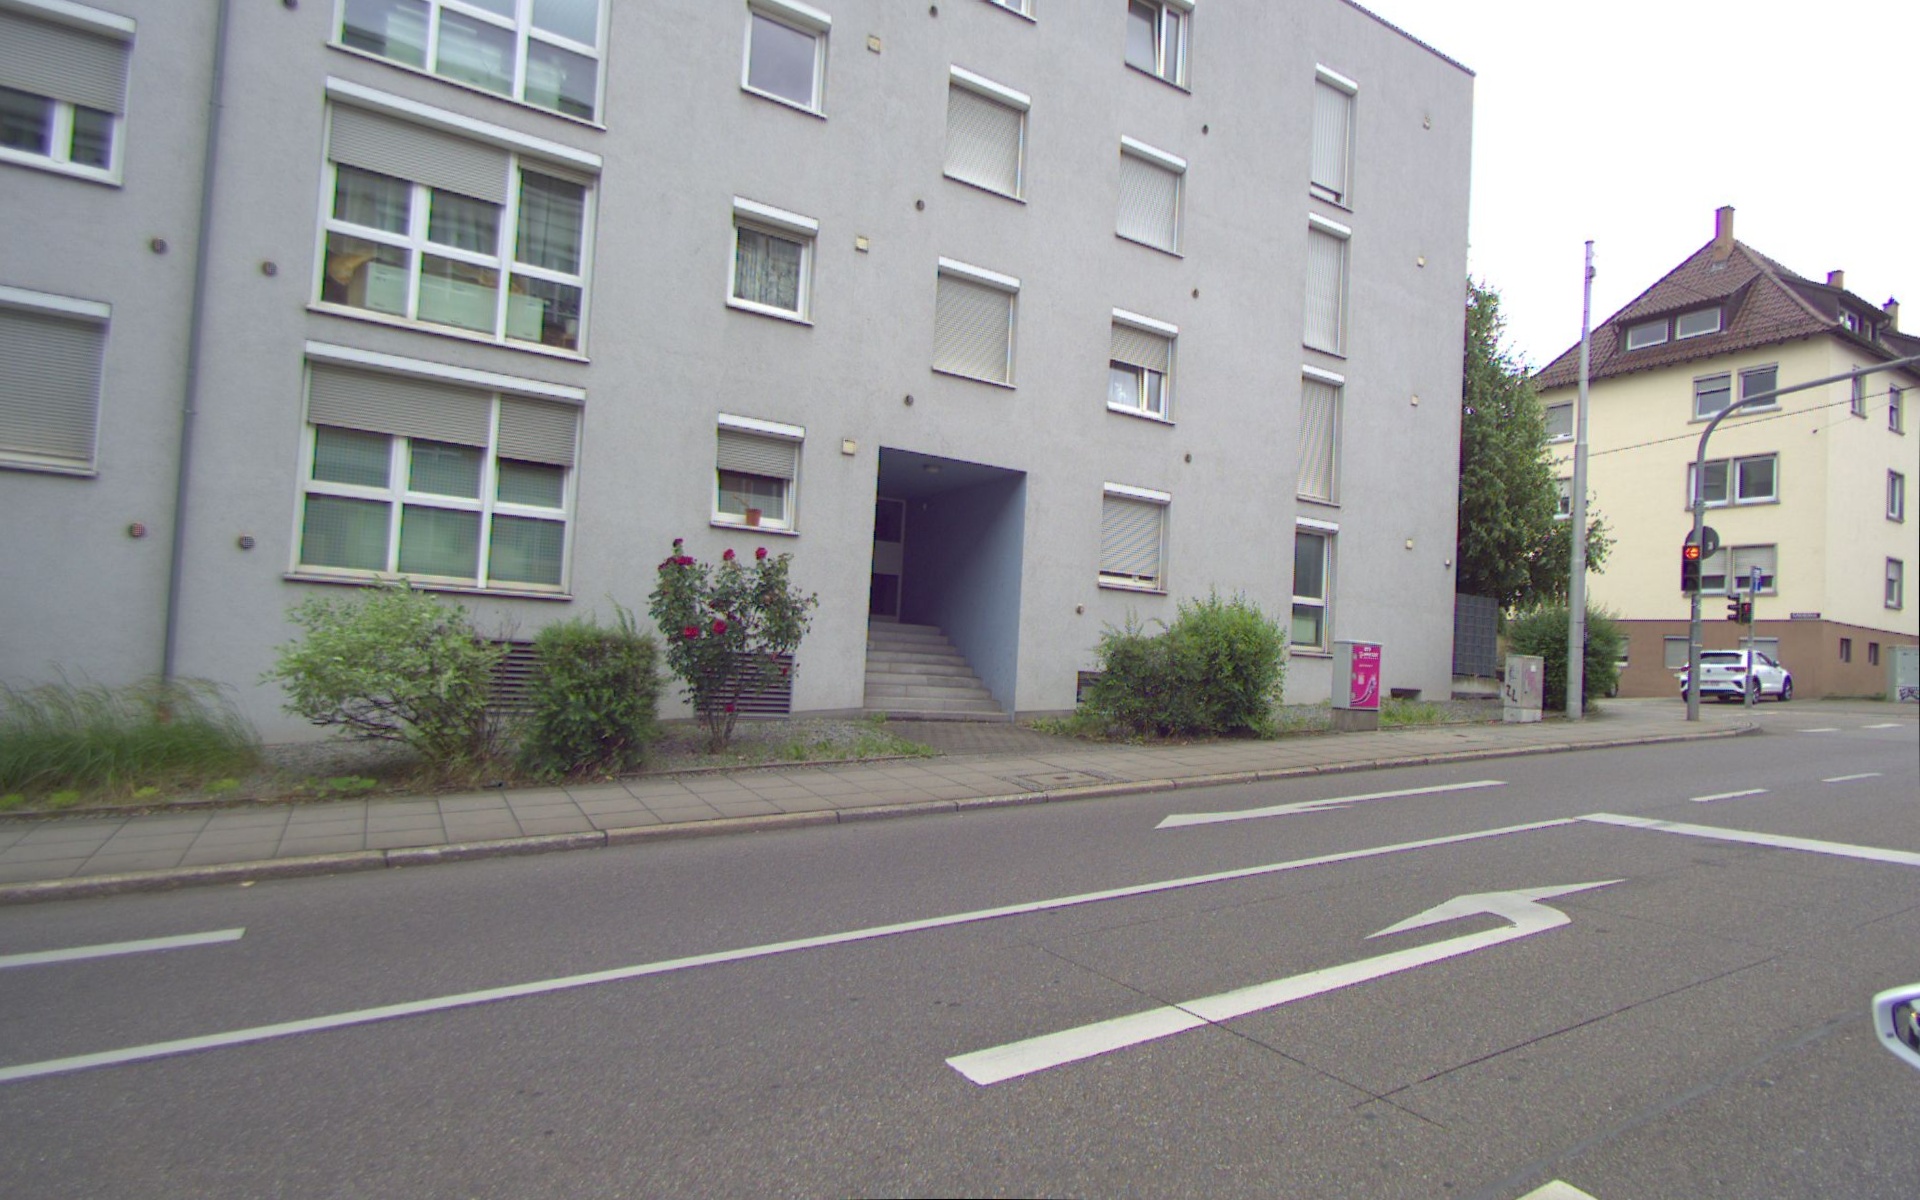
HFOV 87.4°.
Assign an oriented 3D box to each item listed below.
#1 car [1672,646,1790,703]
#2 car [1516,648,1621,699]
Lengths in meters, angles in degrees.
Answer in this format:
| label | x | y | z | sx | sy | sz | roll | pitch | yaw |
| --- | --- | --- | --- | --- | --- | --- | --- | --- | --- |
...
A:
| label | x | y | z | sx | sy | sz | roll | pitch | yaw |
| --- | --- | --- | --- | --- | --- | --- | --- | --- | --- |
| car | 23.042 | 2.196 | 29.994 | 3.727 | 1.575 | 1.681 | 1 | -4 | -34 |
| car | 20.929 | 2.481 | 34.529 | 3.727 | 1.629 | 1.681 | 1 | -4 | -34 |
